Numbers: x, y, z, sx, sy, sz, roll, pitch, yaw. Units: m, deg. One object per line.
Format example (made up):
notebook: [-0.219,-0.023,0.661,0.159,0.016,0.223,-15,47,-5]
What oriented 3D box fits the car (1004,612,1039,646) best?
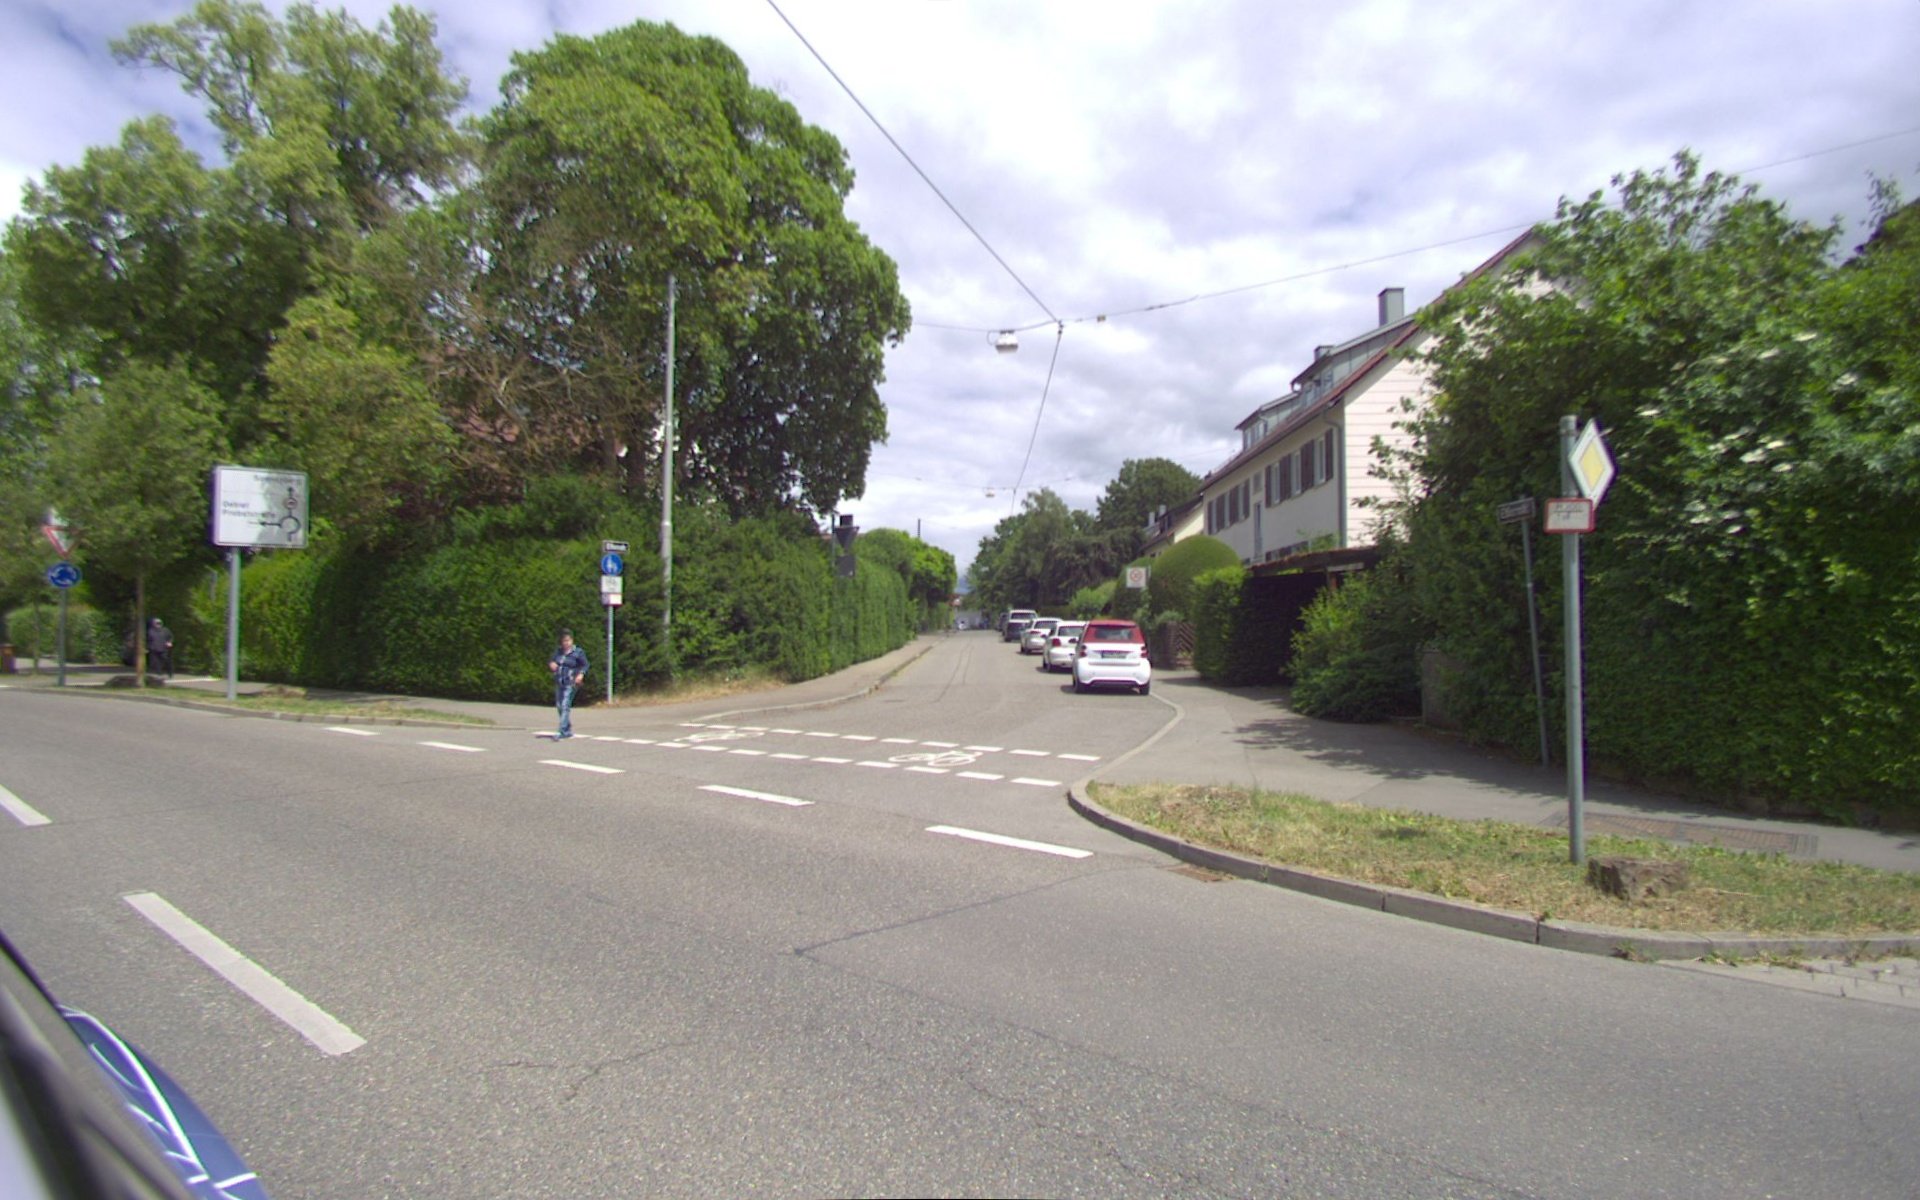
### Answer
car: [3.656,1.697,59.542,1.941,1.885,3.994,0,-1,5]

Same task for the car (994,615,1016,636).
car: [4.294,2.444,96.653,1.972,2.029,3.999,0,-2,1]

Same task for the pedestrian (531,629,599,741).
pedestrian: [-5.490,1.161,14.098,0.619,1.520,0.730,0,-2,3]

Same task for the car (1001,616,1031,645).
car: [4.043,2.189,73.244,1.972,2.029,3.999,0,-2,1]

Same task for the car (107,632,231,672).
car: [-31.607,2.105,40.507,1.664,1.408,3.531,-1,-5,39]

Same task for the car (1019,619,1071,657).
car: [3.404,1.512,41.256,1.682,1.416,4.281,0,-1,-1]

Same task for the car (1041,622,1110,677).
car: [3.272,1.377,29.281,1.692,1.466,3.532,0,-1,2]

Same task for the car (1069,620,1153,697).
car: [3.261,1.230,22.247,1.569,1.567,2.775,0,-1,3]

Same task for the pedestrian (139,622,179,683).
pedestrian: [-23.054,1.498,29.131,0.694,1.704,0.736,-1,-2,40]

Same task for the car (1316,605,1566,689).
car: [9.160,0.883,19.475,3.942,1.521,1.729,0,-1,-2]
